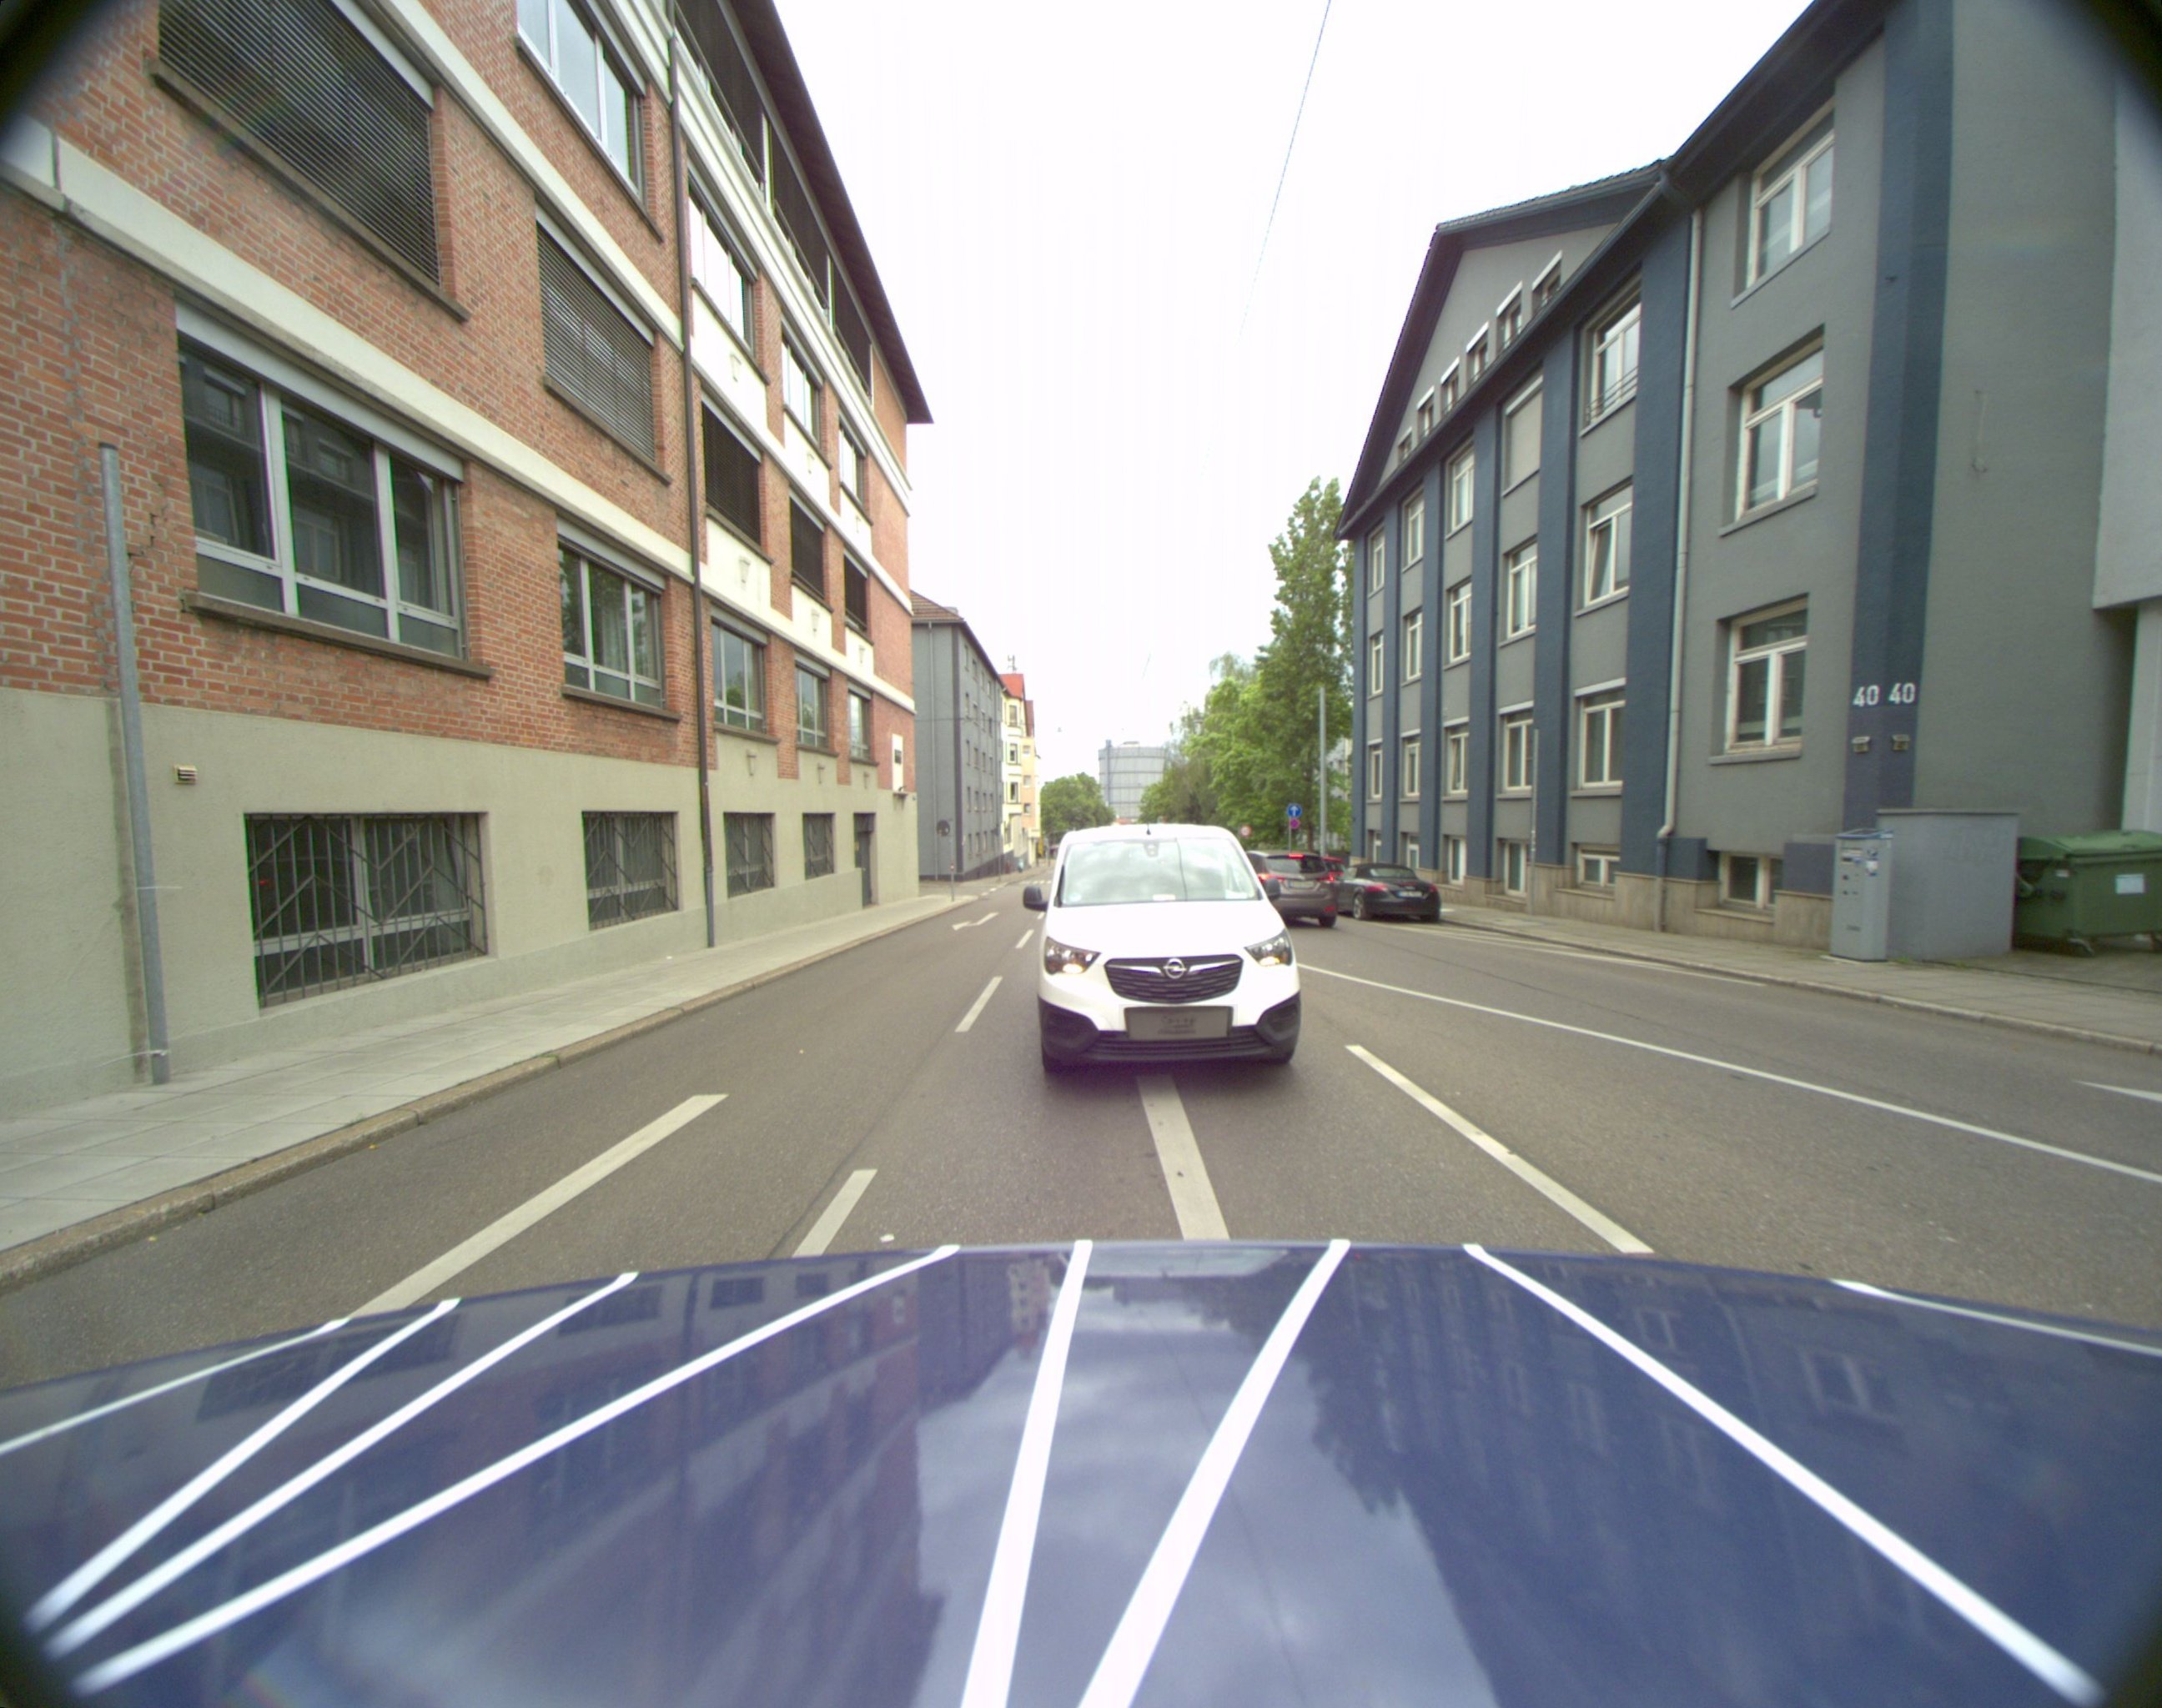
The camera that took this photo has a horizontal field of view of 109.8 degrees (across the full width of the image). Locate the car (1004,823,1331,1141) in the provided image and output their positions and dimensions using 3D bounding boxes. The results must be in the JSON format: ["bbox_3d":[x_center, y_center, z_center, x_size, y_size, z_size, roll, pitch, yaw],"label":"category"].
[{"bbox_3d":[0.554,0.746,6.918,1.840,1.797,4.939,-2,0,1],"label":"car"}]

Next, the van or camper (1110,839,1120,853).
[{"bbox_3d":[6.724,-1.578,149.777,1.914,2.754,5.925,1,0,2],"label":"van or camper"}]

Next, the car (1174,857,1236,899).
[{"bbox_3d":[4.463,0.822,27.778,1.677,1.392,3.794,2,0,1],"label":"car"}]

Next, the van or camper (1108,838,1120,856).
[{"bbox_3d":[5.182,-1.039,119.928,1.914,2.754,5.925,1,0,2],"label":"van or camper"}]

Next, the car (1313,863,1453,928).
[{"bbox_3d":[7.171,0.921,18.514,1.724,1.319,4.040,2,0,-1],"label":"car"}]

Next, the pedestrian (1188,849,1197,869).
[{"bbox_3d":[10.025,0.442,68.364,0.746,1.839,0.776,-1,1,2],"label":"pedestrian"}]

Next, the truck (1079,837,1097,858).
[{"bbox_3d":[1.263,-1.166,136.089,2.980,3.394,9.358,-2,0,1],"label":"truck"}]

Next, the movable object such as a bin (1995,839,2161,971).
[{"bbox_3d":[12.089,0.586,9.098,1.267,1.448,0.784,-3,2,4],"label":"movable object such as a bin"}]

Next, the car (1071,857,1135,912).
[{"bbox_3d":[0.662,0.851,22.777,1.724,1.486,3.727,1,0,2],"label":"car"}]

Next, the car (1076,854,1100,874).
[{"bbox_3d":[0.555,0.743,57.689,1.724,1.486,3.727,1,0,2],"label":"car"}]

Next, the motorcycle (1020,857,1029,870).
[{"bbox_3d":[-5.123,0.866,68.564,0.566,1.105,1.653,4,0,2],"label":"motorcycle"}]

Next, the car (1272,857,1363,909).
[{"bbox_3d":[7.496,0.880,24.490,1.819,1.465,3.869,2,0,2],"label":"car"}]

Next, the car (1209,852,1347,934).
[{"bbox_3d":[4.200,0.762,16.892,1.709,1.578,3.934,2,0,-5],"label":"car"}]
